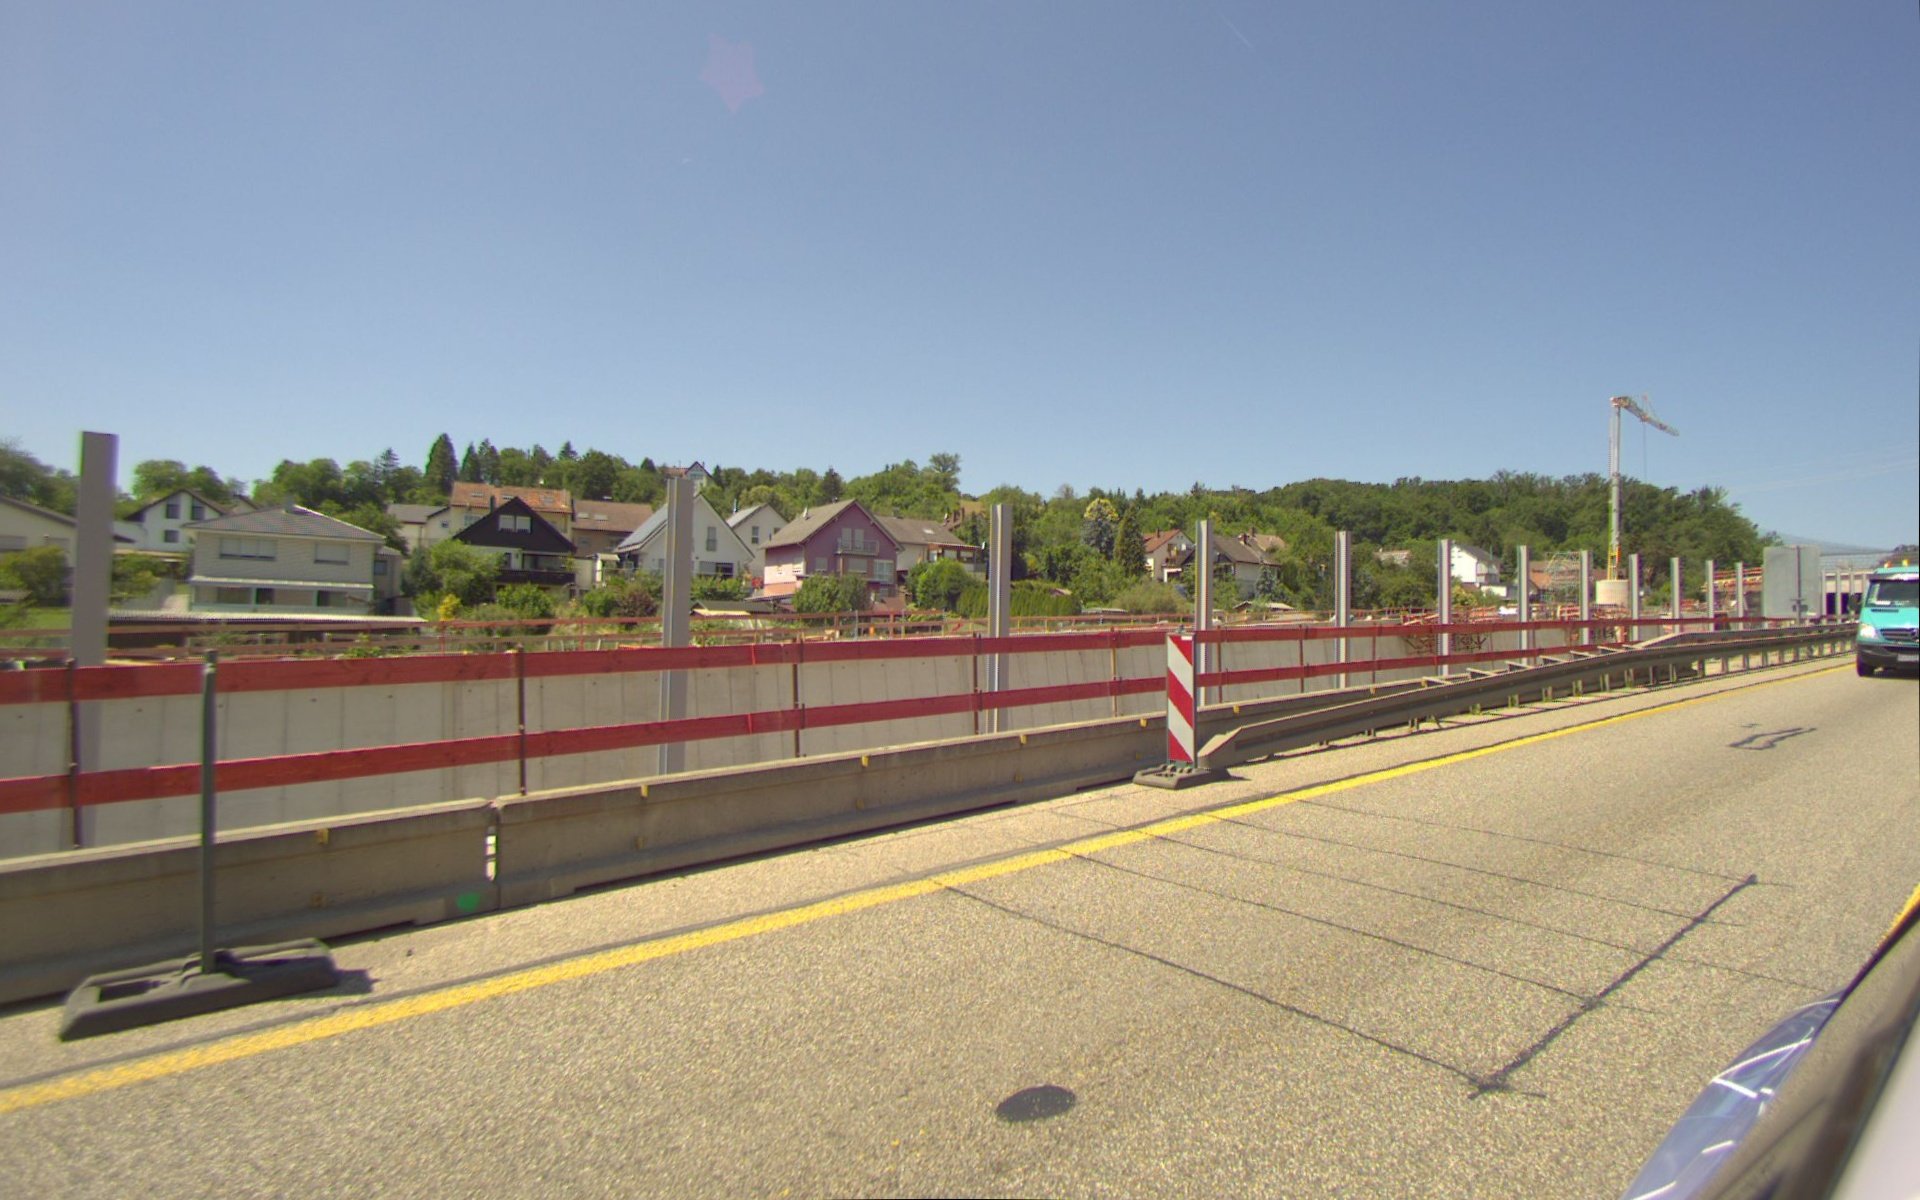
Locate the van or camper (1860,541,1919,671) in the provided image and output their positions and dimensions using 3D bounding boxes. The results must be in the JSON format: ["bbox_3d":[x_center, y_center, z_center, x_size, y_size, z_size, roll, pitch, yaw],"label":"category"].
[{"bbox_3d":[21.524,0.131,21.927,7.537,2.504,2.096,0,0,-41],"label":"van or camper"}]
